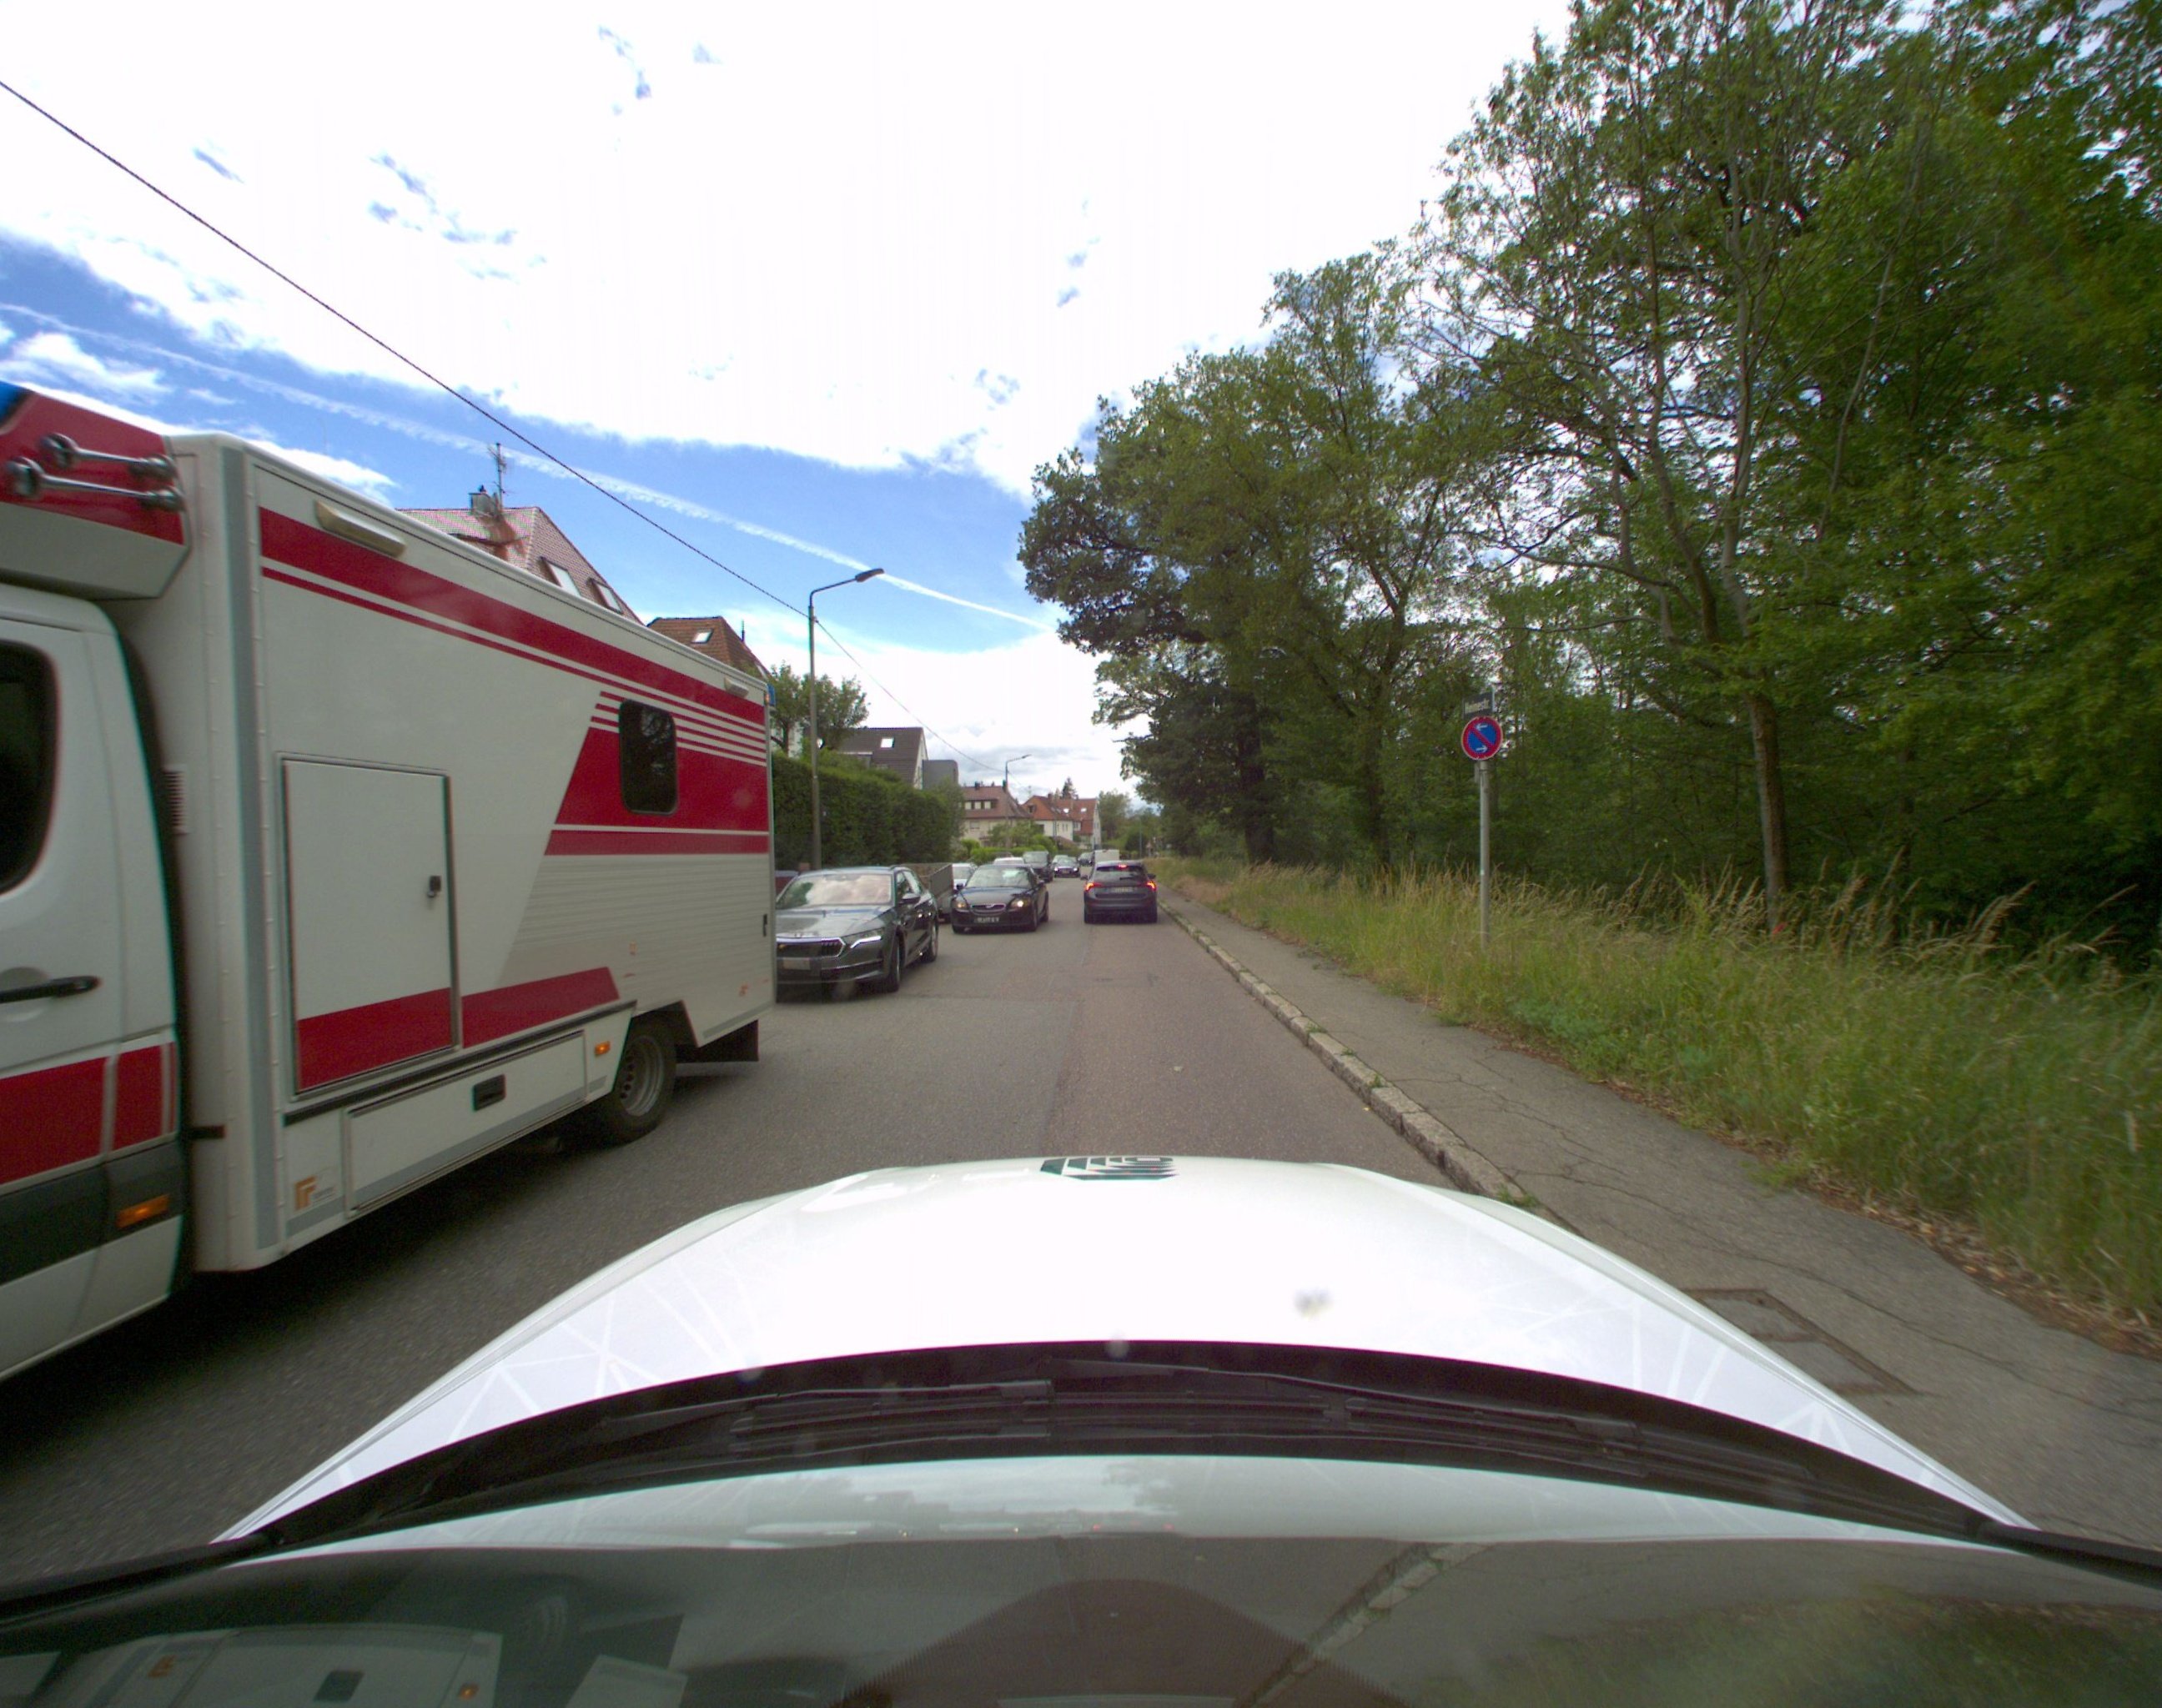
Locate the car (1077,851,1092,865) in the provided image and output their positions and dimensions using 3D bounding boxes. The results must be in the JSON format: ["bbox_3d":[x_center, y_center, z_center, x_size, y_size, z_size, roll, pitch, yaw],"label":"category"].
[{"bbox_3d":[0.466,0.485,100.717,1.827,1.597,4.325,0,1,1],"label":"car"}]

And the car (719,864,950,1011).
[{"bbox_3d":[-2.942,0.900,10.784,1.758,1.446,4.471,-2,0,-1],"label":"car"}]

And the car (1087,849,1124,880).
[{"bbox_3d":[1.527,0.653,52.463,2.066,1.922,4.919,0,0,-1],"label":"car"}]

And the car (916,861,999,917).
[{"bbox_3d":[-3.764,1.019,25.599,1.757,1.499,4.475,-3,0,1],"label":"car"}]

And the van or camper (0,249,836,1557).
[{"bbox_3d":[-3.547,0.123,3.558,2.446,2.895,7.172,-2,0,2],"label":"van or camper"}]

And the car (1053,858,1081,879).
[{"bbox_3d":[-0.952,1.007,58.941,1.856,1.414,4.593,0,0,1],"label":"car"}]

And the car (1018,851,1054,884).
[{"bbox_3d":[-2.683,0.773,49.778,1.856,1.926,5.039,0,0,1],"label":"car"}]

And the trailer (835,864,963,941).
[{"bbox_3d":[-4.076,1.019,18.988,1.756,1.496,4.476,-2,0,2],"label":"trailer"}]

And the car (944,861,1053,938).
[{"bbox_3d":[-1.723,0.930,18.465,1.756,1.446,4.477,-2,0,3],"label":"car"}]

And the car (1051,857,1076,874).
[{"bbox_3d":[-1.572,1.016,75.203,1.774,1.500,4.022,0,0,6],"label":"car"}]

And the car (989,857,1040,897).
[{"bbox_3d":[-3.052,1.025,38.011,1.831,1.648,4.187,-3,0,2],"label":"car"}]

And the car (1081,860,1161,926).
[{"bbox_3d":[0.910,0.893,20.548,1.723,1.439,4.321,0,0,-1],"label":"car"}]
